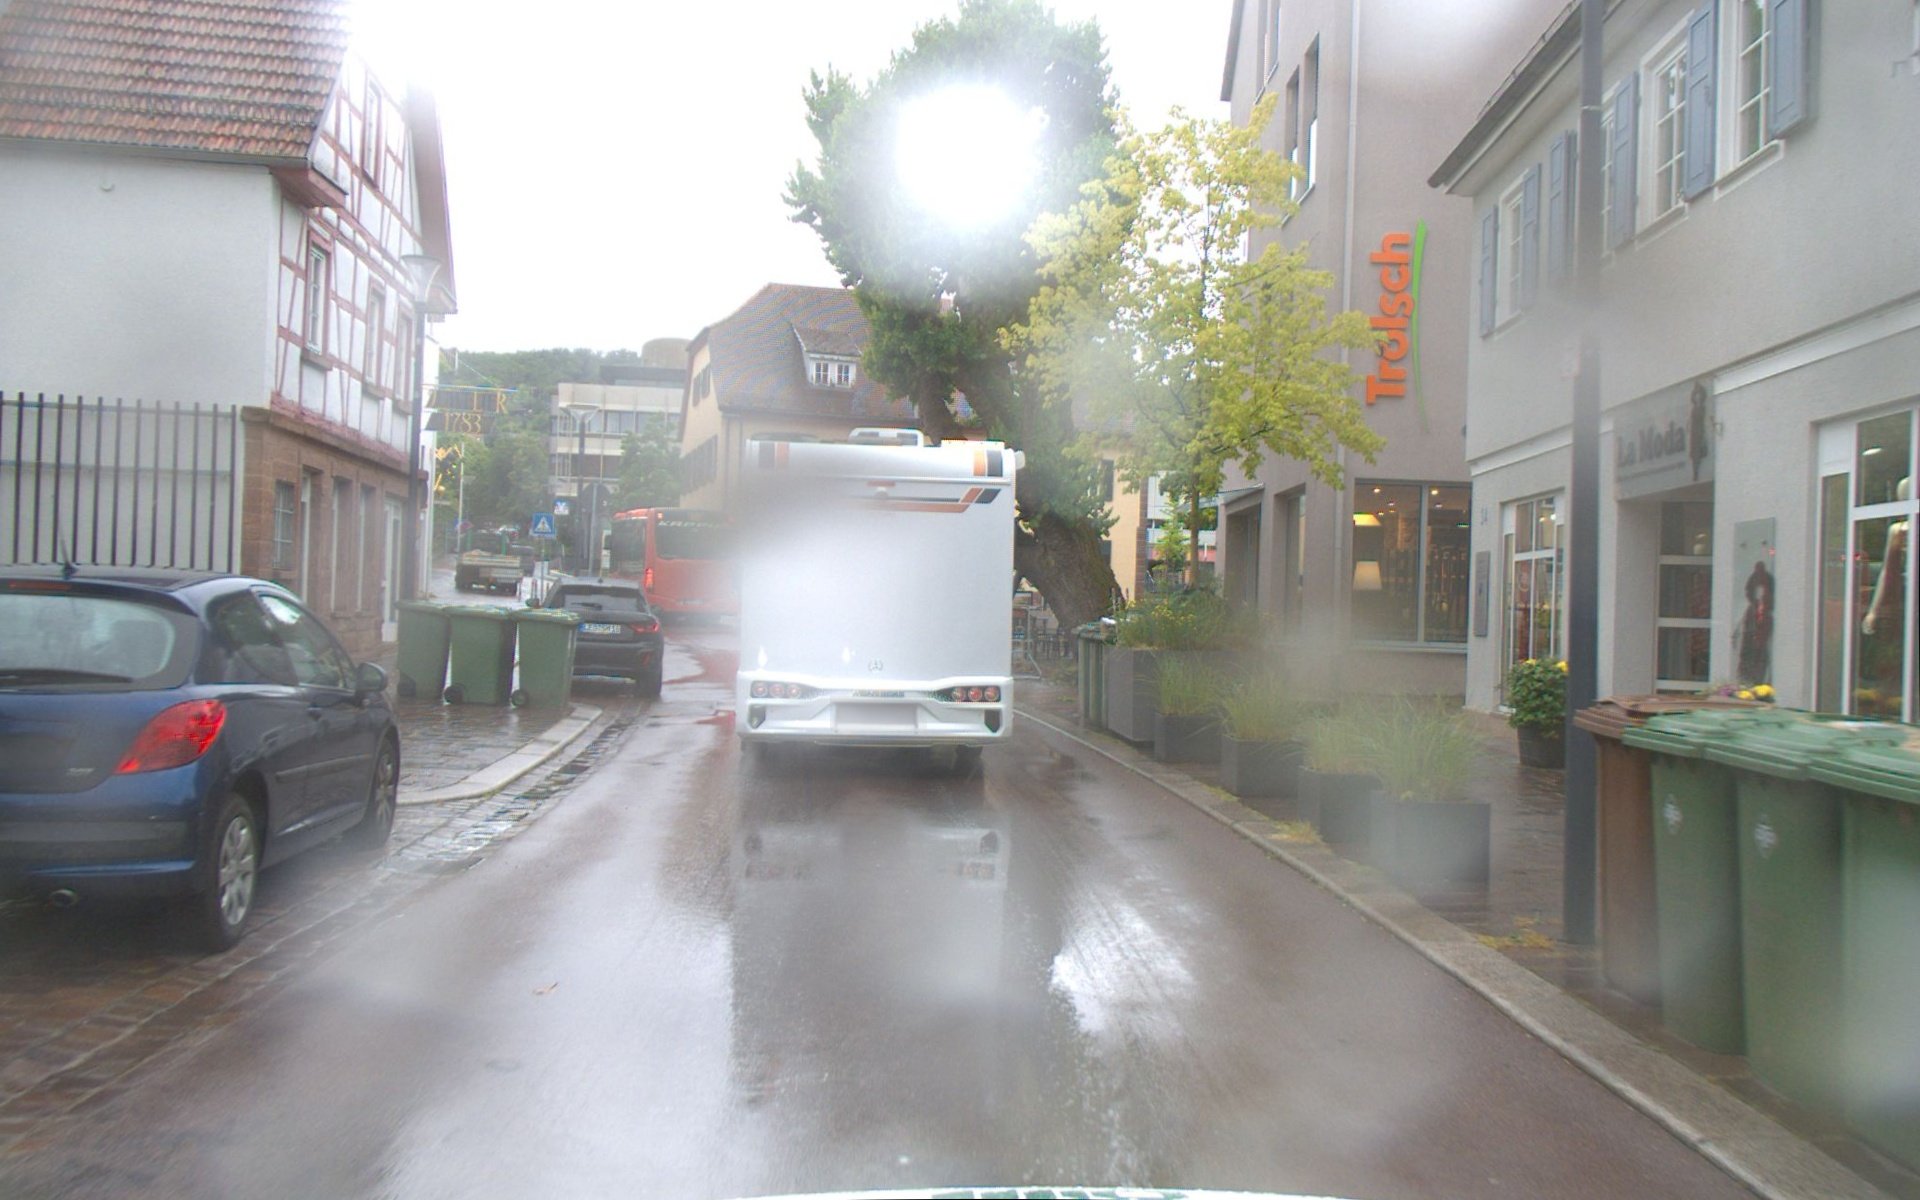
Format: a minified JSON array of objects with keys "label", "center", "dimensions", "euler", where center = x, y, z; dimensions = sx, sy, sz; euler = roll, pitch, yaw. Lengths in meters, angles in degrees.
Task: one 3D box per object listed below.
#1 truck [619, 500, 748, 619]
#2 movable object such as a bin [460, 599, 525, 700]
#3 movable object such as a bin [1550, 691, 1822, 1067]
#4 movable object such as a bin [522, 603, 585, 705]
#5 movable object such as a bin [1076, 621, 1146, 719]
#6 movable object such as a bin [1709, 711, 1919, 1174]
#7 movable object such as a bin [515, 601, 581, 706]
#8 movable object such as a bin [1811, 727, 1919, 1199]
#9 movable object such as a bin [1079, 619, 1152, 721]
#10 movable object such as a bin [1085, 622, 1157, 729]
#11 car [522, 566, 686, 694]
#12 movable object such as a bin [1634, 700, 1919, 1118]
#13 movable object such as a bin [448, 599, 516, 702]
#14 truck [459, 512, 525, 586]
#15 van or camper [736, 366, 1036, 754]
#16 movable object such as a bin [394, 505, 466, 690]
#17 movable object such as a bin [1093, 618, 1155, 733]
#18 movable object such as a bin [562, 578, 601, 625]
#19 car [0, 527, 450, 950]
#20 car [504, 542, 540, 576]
[{"label":"truck","center":[-7.722,-1.014,45.668],"dimensions":[2.425,2.990,6.162],"euler":[2,-1,-20]},{"label":"movable object such as a bin","center":[-5.452,0.568,19.318],"dimensions":[0.618,1.142,0.732],"euler":[2,-1,-9]},{"label":"movable object such as a bin","center":[2.669,0.995,6.143],"dimensions":[0.664,1.262,0.731],"euler":[1,-1,-2]},{"label":"movable object such as a bin","center":[-4.719,0.619,19.219],"dimensions":[0.618,1.142,0.732],"euler":[2,-1,-9]},{"label":"movable object such as a bin","center":[1.753,0.805,19.254],"dimensions":[0.714,1.099,0.576],"euler":[1,-1,-4]},{"label":"movable object such as a bin","center":[2.696,0.981,4.915],"dimensions":[0.664,1.254,0.564],"euler":[1,-1,-2]},{"label":"movable object such as a bin","center":[-4.591,0.593,18.462],"dimensions":[0.618,1.133,0.732],"euler":[2,-1,-9]},{"label":"movable object such as a bin","center":[2.718,0.999,4.350],"dimensions":[0.664,1.278,0.542],"euler":[1,-1,-2]},{"label":"movable object such as a bin","center":[1.747,0.785,18.673],"dimensions":[0.714,1.121,0.561],"euler":[1,-1,-4]},{"label":"movable object such as a bin","center":[1.749,0.815,18.015],"dimensions":[0.679,1.121,0.561],"euler":[1,-1,-4]},{"label":"car","center":[-4.985,0.355,22.866],"dimensions":[1.960,1.520,3.985],"euler":[3,0,-15]},{"label":"movable object such as a bin","center":[2.695,0.989,5.490],"dimensions":[0.664,1.272,0.564],"euler":[1,-1,-2]},{"label":"movable object such as a bin","center":[-5.354,0.559,18.550],"dimensions":[0.618,1.070,0.732],"euler":[2,3,-9]},{"label":"truck","center":[-19.529,-2.062,68.882],"dimensions":[2.246,2.806,5.537],"euler":[2,-1,-20]},{"label":"van or camper","center":[-0.910,-0.274,16.117],"dimensions":[2.281,2.970,6.384],"euler":[1,-1,-6]},{"label":"movable object such as a bin","center":[-6.024,-0.026,18.836],"dimensions":[0.618,2.049,0.745],"euler":[2,-1,-9]},{"label":"movable object such as a bin","center":[1.725,0.784,17.423],"dimensions":[0.533,1.176,0.576],"euler":[1,-1,-4]},{"label":"movable object such as a bin","center":[-8.718,0.038,38.071],"dimensions":[0.805,1.069,0.696],"euler":[2,-1,-17]},{"label":"car","center":[-3.862,0.458,7.866],"dimensions":[1.955,1.497,3.995],"euler":[2,0,-6]},{"label":"car","center":[-28.697,-2.658,108.271],"dimensions":[1.963,2.049,3.978],"euler":[2,-1,-19]}]
